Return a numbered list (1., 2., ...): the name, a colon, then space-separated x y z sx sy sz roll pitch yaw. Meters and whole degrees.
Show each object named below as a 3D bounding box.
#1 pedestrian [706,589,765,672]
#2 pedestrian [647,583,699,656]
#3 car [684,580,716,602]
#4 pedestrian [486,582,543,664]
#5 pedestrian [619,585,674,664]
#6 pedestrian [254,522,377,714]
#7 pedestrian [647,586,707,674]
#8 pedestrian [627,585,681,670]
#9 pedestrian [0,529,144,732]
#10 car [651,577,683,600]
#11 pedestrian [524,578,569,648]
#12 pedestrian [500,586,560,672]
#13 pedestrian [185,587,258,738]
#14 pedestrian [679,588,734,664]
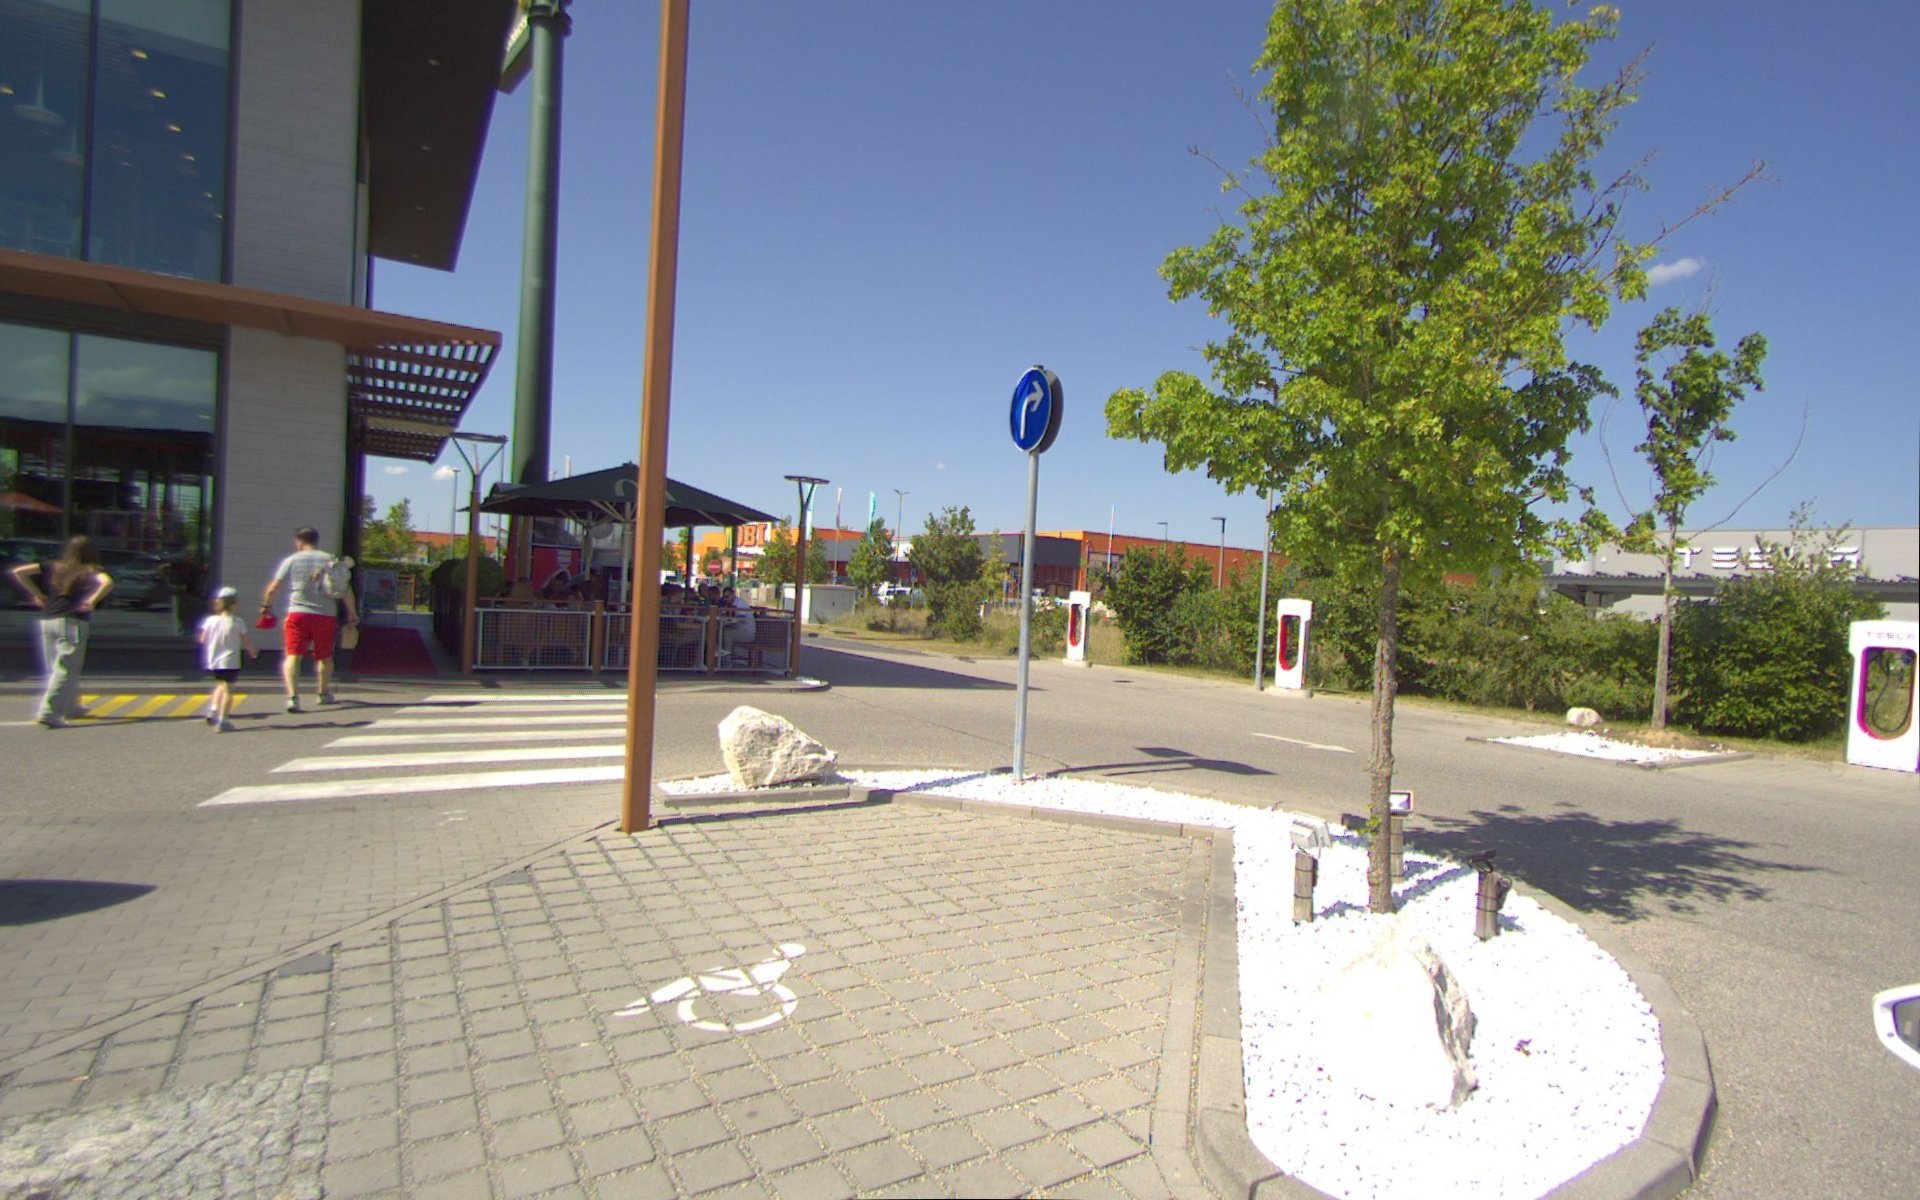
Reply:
1. pedestrian: -3.576 0.478 15.987 0.722 1.274 0.567 2 0 -36
2. pedestrian: -5.152 0.347 18.033 0.722 1.274 0.567 2 0 -36
3. car: -25.816 -0.929 99.522 1.977 2.040 3.967 3 -1 -30
4. pedestrian: -6.412 0.330 14.461 0.628 1.139 0.519 2 0 -35
5. pedestrian: -5.210 0.411 16.701 0.708 1.274 0.519 2 0 -35
6. pedestrian: -6.378 0.171 9.936 0.889 1.791 0.794 2 0 -39
7. pedestrian: -4.268 0.449 15.156 0.708 1.274 0.519 2 0 -35
8. pedestrian: -4.746 0.428 15.566 0.628 1.274 0.519 2 0 -35
9. pedestrian: -7.419 0.247 8.363 0.730 1.605 0.725 2 0 -21
10. car: -28.462 -1.107 97.448 1.977 2.040 3.967 3 -1 -30
11. pedestrian: -6.894 0.213 16.735 0.567 1.115 0.651 2 0 -32
12. pedestrian: -5.917 0.392 13.816 0.628 1.139 0.519 2 0 -35
13. pedestrian: -6.150 0.508 8.378 0.444 1.202 0.486 2 0 -36
14. pedestrian: -4.349 0.447 17.233 0.722 1.274 0.567 2 0 -36
